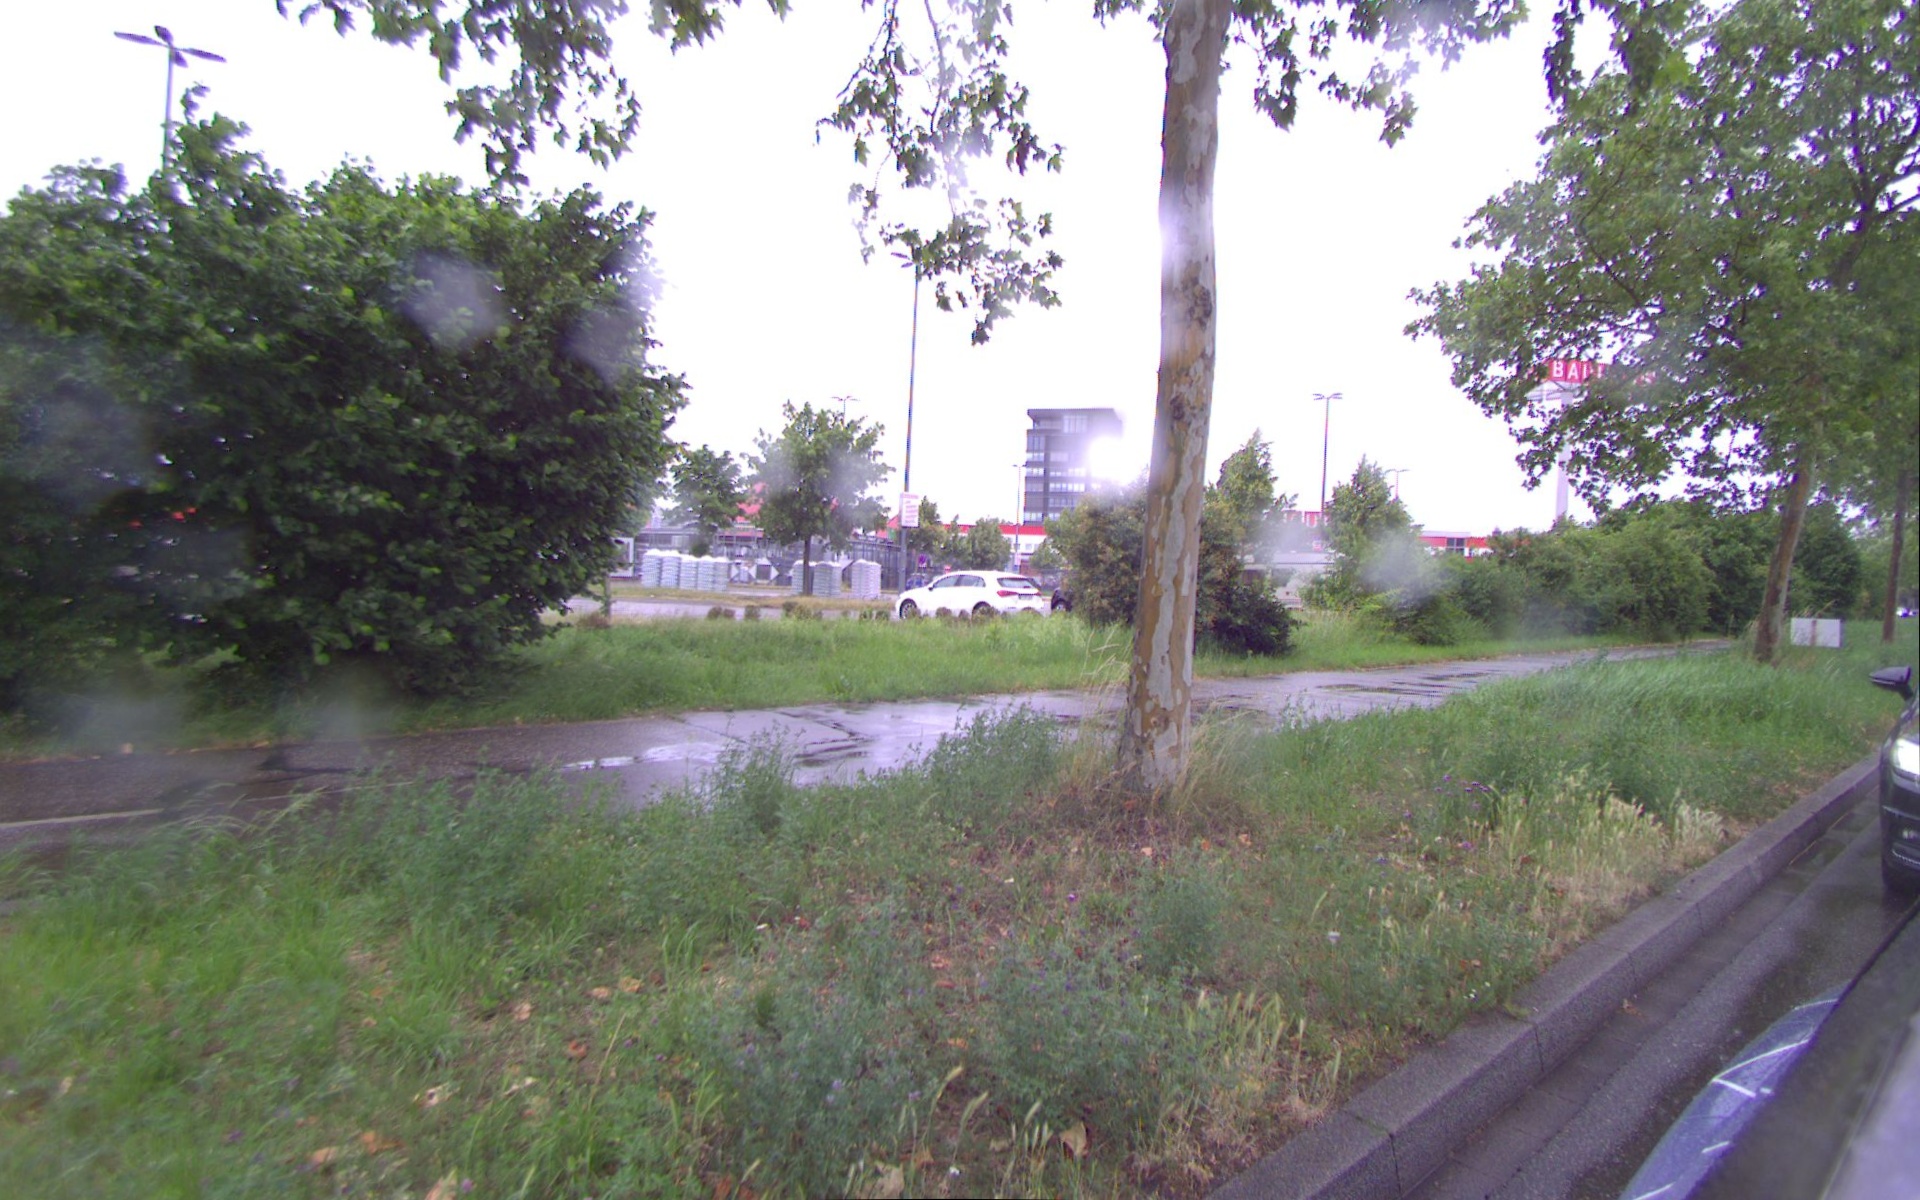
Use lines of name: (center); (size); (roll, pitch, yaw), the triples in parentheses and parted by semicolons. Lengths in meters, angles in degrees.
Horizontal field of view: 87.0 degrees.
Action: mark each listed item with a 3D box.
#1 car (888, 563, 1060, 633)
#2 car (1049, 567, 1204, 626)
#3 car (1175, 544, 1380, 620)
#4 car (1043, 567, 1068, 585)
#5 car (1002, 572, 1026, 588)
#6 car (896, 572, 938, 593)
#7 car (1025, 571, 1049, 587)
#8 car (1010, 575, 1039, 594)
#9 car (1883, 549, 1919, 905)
car: (0.288, -0.114, 25.934); (1.899, 1.571, 4.262); (0, 3, -45)
car: (4.929, -0.157, 30.289); (1.899, 1.571, 4.262); (0, 3, -45)
car: (10.954, -0.711, 35.278); (6.399, 2.392, 2.357); (3, 2, 41)
car: (9.417, -2.385, 99.733); (1.971, 1.697, 4.261); (2, 2, 11)
car: (6.008, -2.287, 112.494); (1.973, 1.697, 4.257); (2, 2, 13)
car: (-3.298, -1.405, 79.032); (1.905, 1.571, 4.249); (2, 2, 18)
car: (8.503, -2.296, 111.894); (1.973, 1.697, 4.257); (2, 2, 13)
car: (6.033, -1.457, 94.718); (1.973, 1.697, 4.255); (2, 2, 14)
car: (6.558, 0.574, 5.609); (4.548, 1.625, 1.768); (0, 0, -43)
